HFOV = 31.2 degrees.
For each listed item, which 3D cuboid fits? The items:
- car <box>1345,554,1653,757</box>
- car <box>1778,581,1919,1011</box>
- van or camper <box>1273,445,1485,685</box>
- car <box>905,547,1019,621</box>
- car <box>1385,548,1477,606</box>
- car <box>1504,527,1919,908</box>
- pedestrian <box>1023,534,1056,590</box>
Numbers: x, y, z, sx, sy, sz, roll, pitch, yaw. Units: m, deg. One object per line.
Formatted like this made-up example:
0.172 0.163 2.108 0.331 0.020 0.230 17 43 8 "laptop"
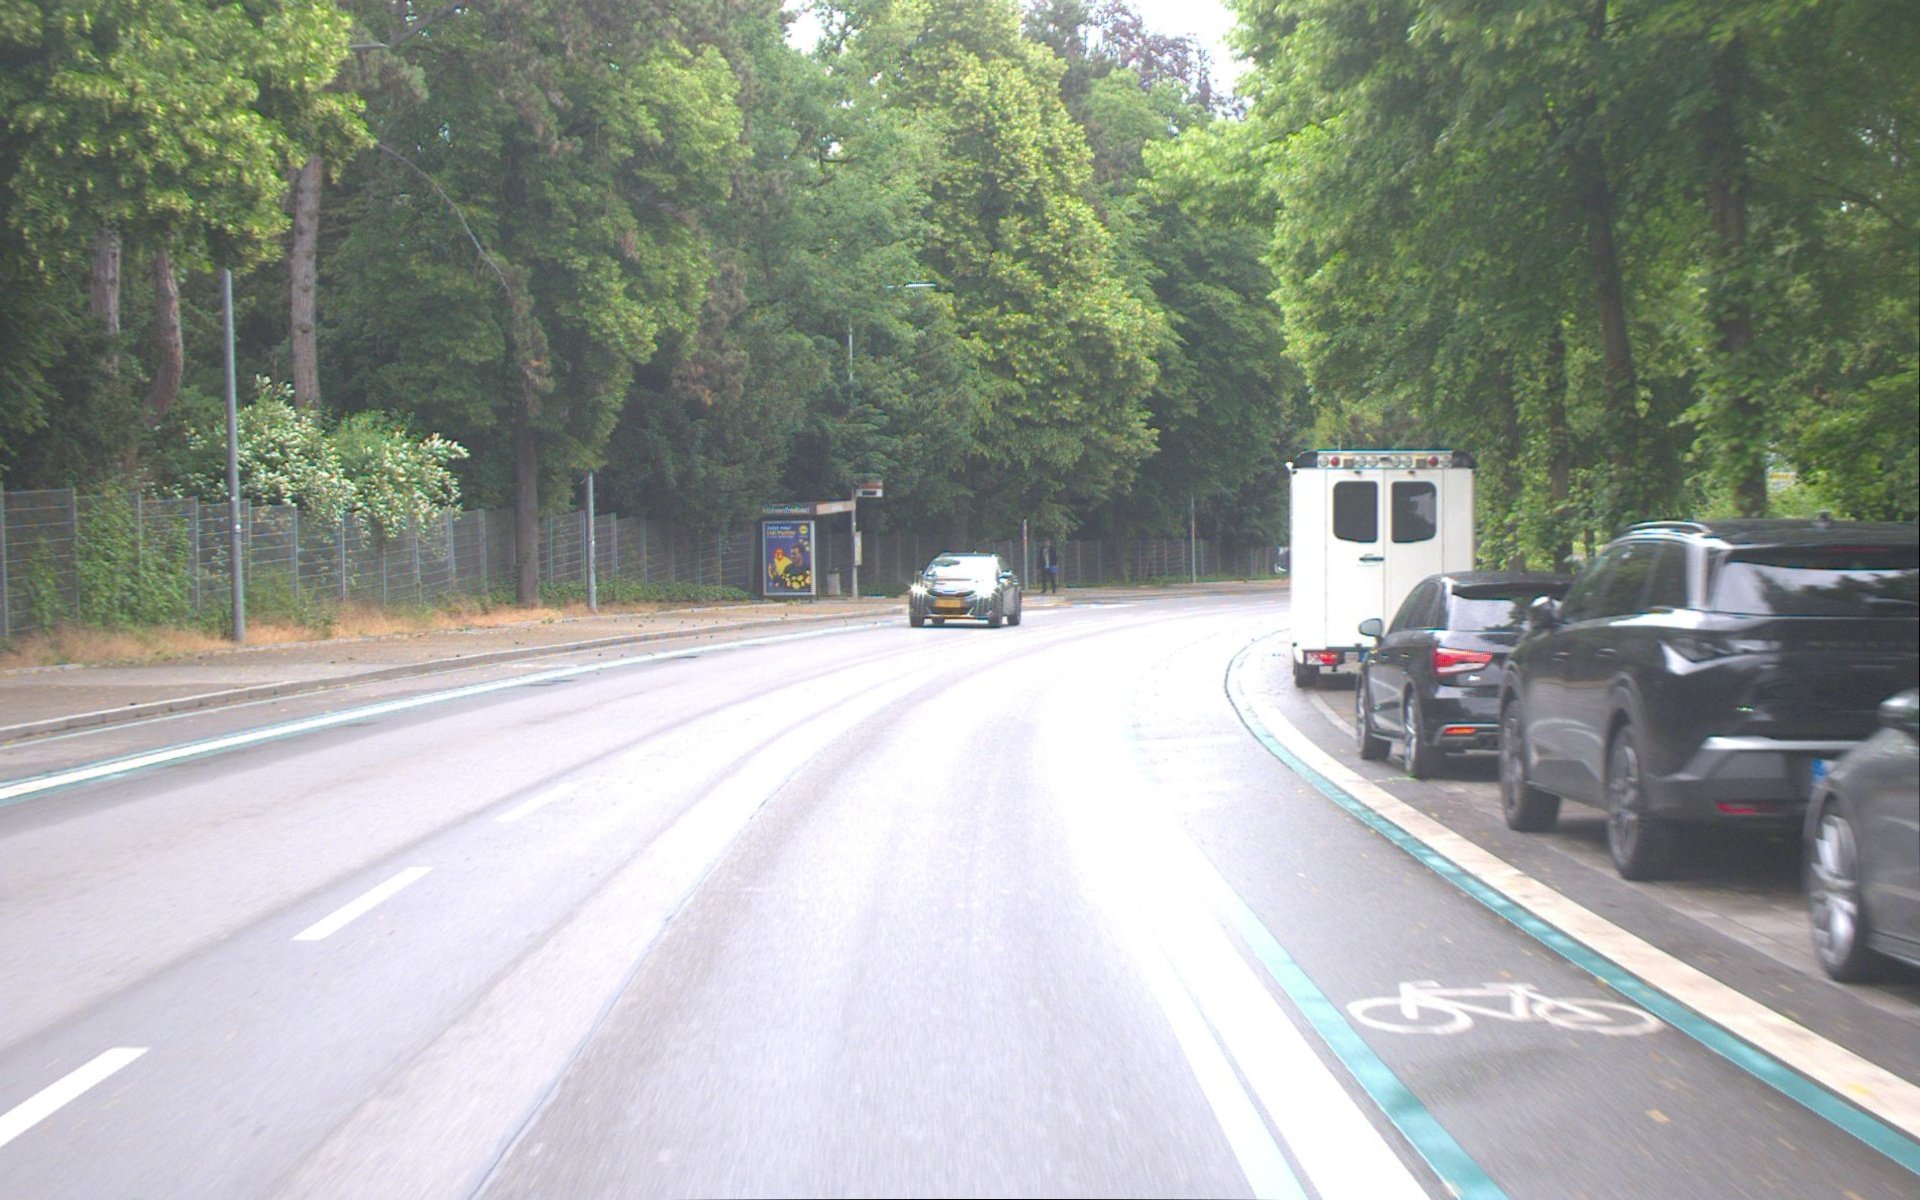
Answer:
3.895 0.374 25.422 1.678 1.371 4.000 0 0 1 "car"
3.900 0.626 10.483 1.775 1.343 4.466 0 0 1 "car"
4.993 -0.452 41.447 2.317 2.655 6.381 0 1 6 "van or camper"
0.064 -0.343 69.571 1.760 1.432 4.149 0 1 8 "car"
12.268 -0.616 89.323 1.861 1.423 4.647 2 1 14 "car"
4.015 0.511 17.008 1.993 1.639 4.348 0 0 1 "car"
2.486 -1.197 107.427 0.887 1.727 1.145 1 1 9 "pedestrian"
